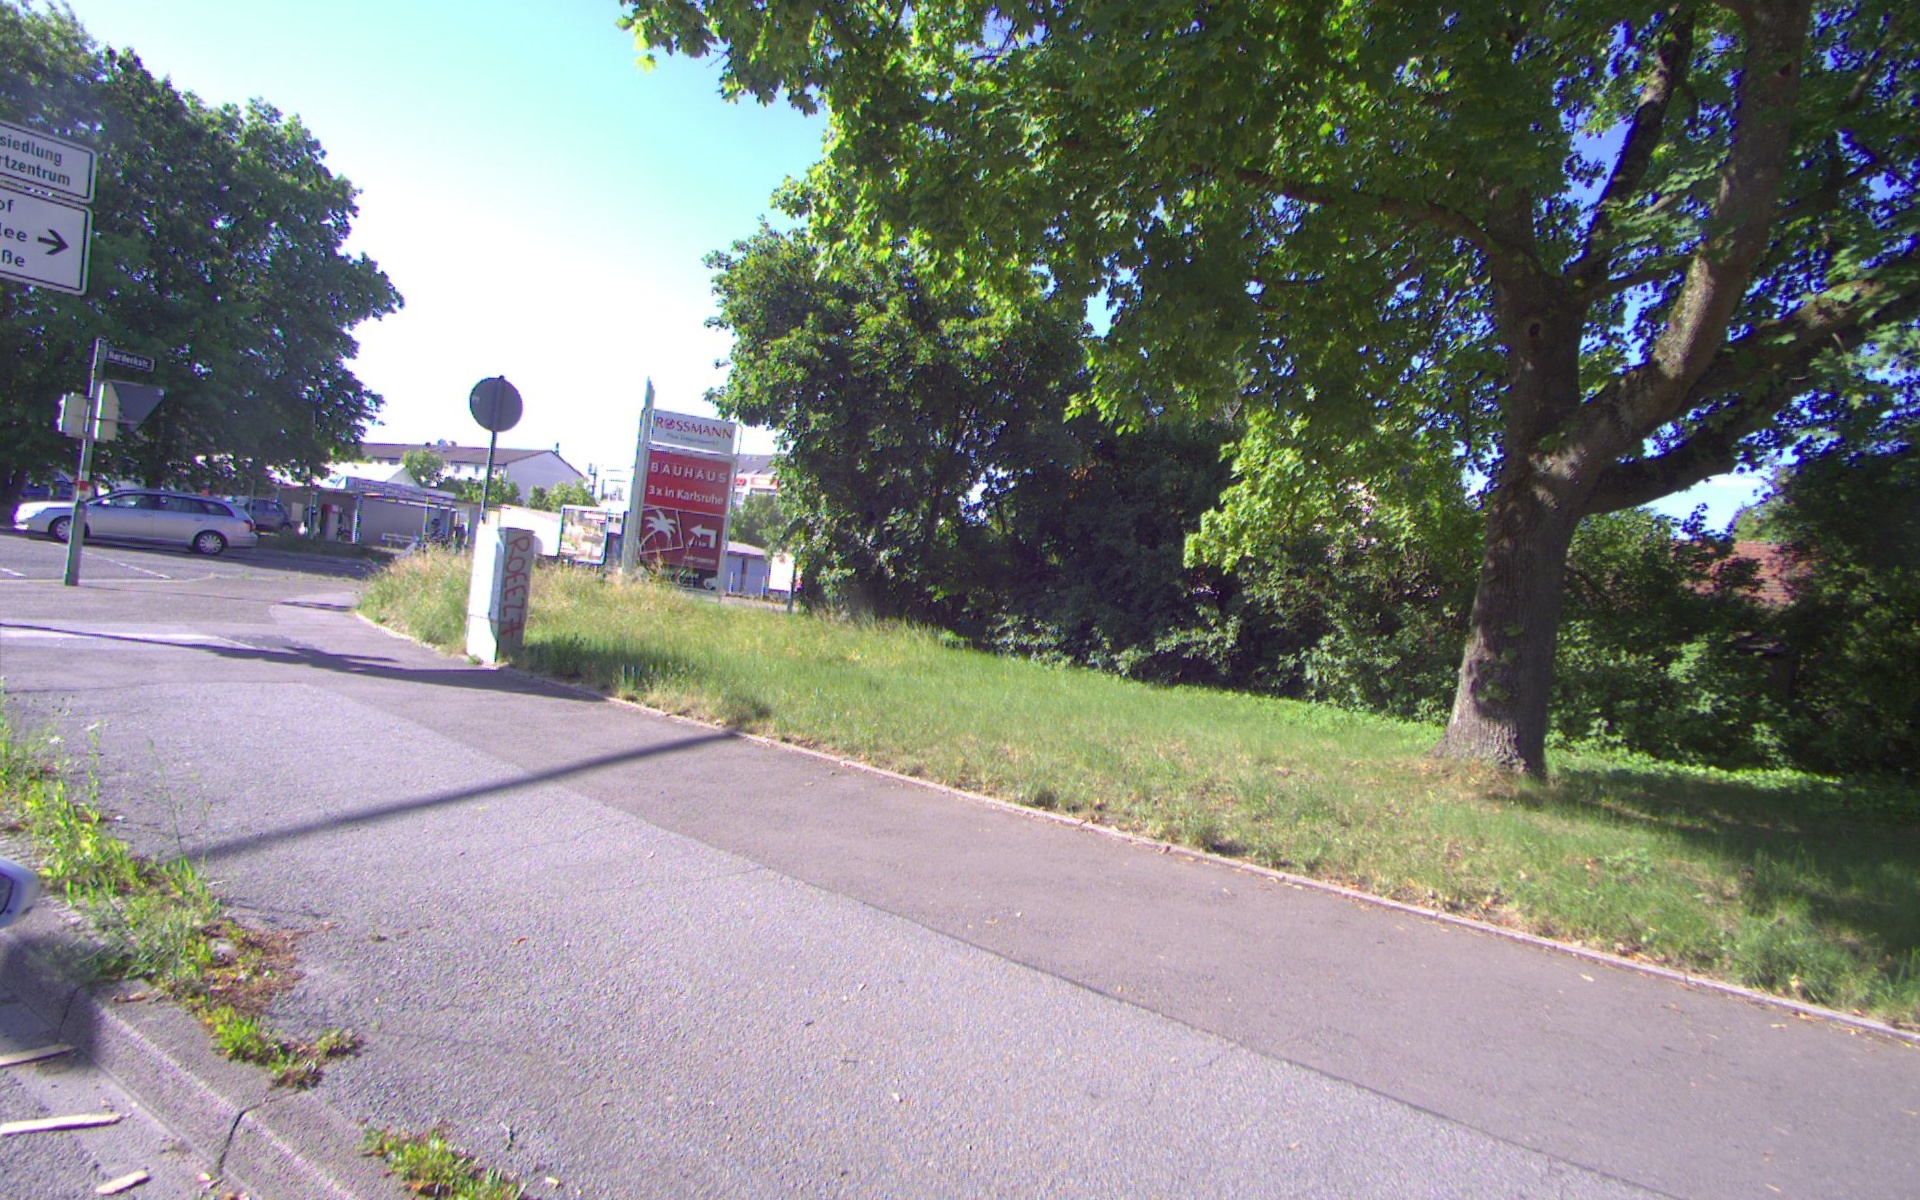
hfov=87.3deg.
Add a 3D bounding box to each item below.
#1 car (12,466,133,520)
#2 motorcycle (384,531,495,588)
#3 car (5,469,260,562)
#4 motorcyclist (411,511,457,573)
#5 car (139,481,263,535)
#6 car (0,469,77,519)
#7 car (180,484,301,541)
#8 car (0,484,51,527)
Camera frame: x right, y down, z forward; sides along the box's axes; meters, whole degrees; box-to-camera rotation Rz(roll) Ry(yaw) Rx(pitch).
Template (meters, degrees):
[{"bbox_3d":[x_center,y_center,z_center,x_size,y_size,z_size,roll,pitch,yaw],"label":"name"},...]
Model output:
[{"bbox_3d":[-39.319,-4.695,44.696,1.772,1.581,3.851,8,-2,0],"label":"car"},{"bbox_3d":[-15.562,-1.192,30.135,2.718,1.285,0.824,10,-3,-43],"label":"motorcycle"},{"bbox_3d":[-20.475,-2.033,25.037,1.973,1.593,4.609,6,-1,43],"label":"car"},{"bbox_3d":[-15.678,-1.735,29.962,0.858,1.699,0.824,9,-2,-42],"label":"motorcyclist"},{"bbox_3d":[-32.348,-3.880,43.004,1.771,1.499,3.854,7,-2,12],"label":"car"},{"bbox_3d":[-41.984,-4.804,44.803,1.672,1.704,3.729,7,-2,6],"label":"car"},{"bbox_3d":[-30.479,-3.667,42.764,1.771,1.630,3.854,7,-2,12],"label":"car"},{"bbox_3d":[-46.534,-4.737,48.396,1.675,1.704,3.722,7,-3,29],"label":"car"}]
